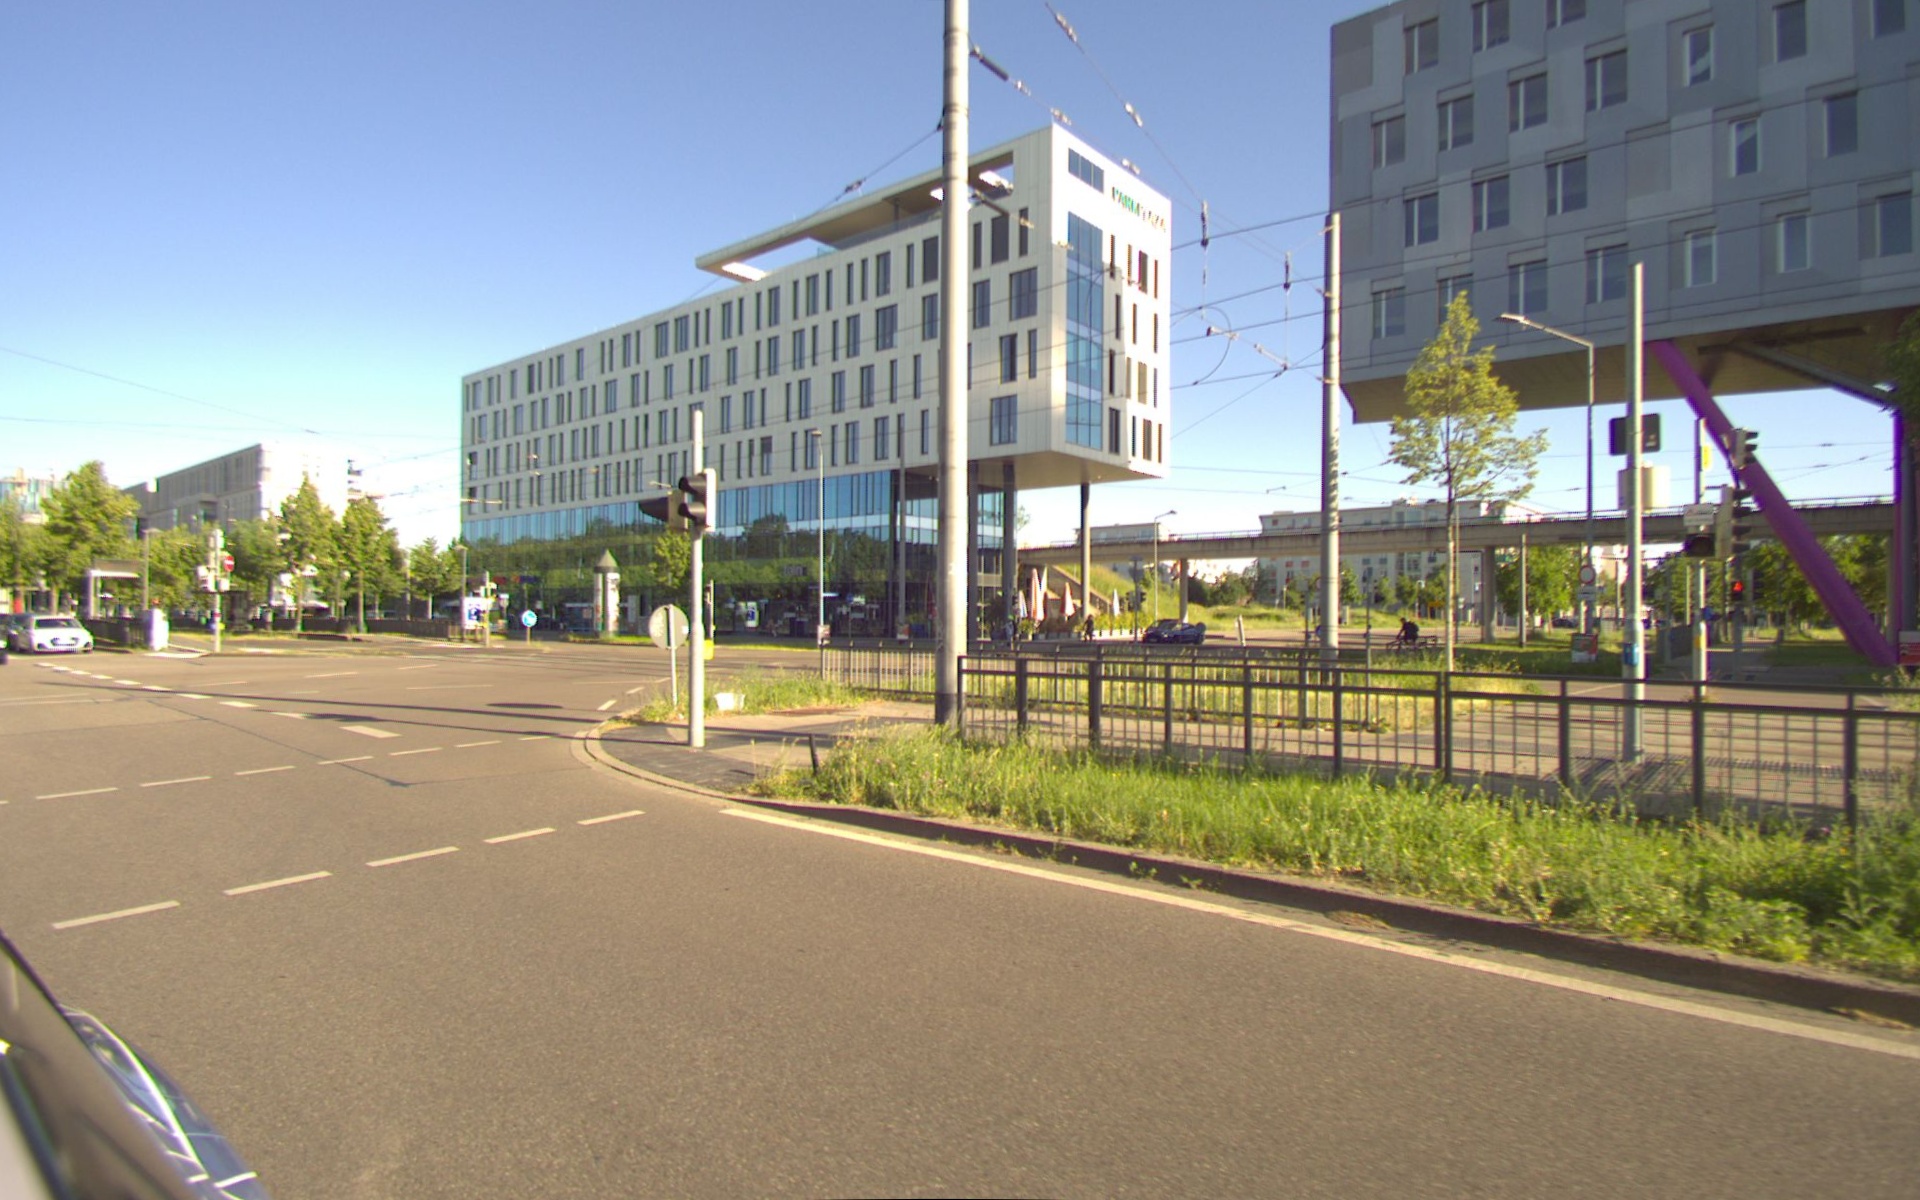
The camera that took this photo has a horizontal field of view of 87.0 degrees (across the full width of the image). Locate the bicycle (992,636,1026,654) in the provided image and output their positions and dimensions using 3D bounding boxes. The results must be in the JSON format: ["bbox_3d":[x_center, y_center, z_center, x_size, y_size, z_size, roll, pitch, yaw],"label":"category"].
[{"bbox_3d":[2.508,2.310,52.156,1.833,0.869,0.522,-2,-2,41],"label":"bicycle"}]

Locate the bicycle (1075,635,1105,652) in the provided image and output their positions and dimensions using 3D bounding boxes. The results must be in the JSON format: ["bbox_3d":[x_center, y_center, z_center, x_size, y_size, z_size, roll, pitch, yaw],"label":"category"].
[{"bbox_3d":[7.259,2.430,56.476,0.749,0.869,1.805,-2,-2,42],"label":"bicycle"}]

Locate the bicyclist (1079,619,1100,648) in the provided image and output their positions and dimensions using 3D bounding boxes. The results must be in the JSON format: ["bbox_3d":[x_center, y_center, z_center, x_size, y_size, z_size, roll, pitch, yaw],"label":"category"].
[{"bbox_3d":[7.211,1.851,56.443,0.750,1.595,0.943,-2,-2,42],"label":"bicyclist"}]

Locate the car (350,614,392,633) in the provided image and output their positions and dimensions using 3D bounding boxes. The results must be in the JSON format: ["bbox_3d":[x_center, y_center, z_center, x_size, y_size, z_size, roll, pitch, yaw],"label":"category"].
[{"bbox_3d":[-52.140,2.061,89.546,4.339,1.538,1.781,-1,0,39],"label":"car"}]

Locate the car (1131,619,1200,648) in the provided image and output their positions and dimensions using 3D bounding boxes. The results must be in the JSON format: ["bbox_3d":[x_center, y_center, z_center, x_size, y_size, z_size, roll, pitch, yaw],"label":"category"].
[{"bbox_3d":[11.537,1.866,56.683,2.000,1.577,3.943,-1,-2,43],"label":"car"}]

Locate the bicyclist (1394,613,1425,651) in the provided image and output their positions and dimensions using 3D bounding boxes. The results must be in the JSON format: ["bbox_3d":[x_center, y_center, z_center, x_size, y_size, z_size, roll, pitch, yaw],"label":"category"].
[{"bbox_3d":[17.619,1.256,39.659,0.958,1.446,0.564,-2,-2,42],"label":"bicyclist"}]

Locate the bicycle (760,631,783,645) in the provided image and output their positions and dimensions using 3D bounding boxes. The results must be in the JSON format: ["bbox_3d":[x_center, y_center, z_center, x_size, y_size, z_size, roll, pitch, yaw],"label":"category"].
[{"bbox_3d":[-11.950,2.415,64.202,1.691,0.869,0.476,-2,-2,42],"label":"bicycle"}]

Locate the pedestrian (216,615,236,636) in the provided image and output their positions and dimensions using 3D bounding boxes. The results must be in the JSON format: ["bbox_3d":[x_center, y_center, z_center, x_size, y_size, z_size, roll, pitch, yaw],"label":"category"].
[{"bbox_3d":[-51.140,1.772,70.511,0.844,1.477,1.054,-2,-1,45],"label":"pedestrian"}]

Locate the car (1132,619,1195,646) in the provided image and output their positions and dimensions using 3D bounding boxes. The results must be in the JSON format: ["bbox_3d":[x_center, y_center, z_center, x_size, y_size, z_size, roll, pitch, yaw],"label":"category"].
[{"bbox_3d":[12.392,1.980,61.556,2.000,1.577,3.943,-1,-2,43],"label":"car"}]

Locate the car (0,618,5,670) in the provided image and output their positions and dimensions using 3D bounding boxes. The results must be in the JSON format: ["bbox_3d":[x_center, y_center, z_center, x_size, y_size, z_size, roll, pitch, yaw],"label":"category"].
[{"bbox_3d":[-30.562,1.353,30.697,4.339,1.538,1.781,-1,0,39],"label":"car"}]

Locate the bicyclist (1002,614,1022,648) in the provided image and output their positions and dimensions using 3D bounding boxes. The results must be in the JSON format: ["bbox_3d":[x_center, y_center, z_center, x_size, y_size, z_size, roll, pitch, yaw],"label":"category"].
[{"bbox_3d":[2.665,1.595,52.032,0.837,1.739,0.524,-2,-2,41],"label":"bicyclist"}]

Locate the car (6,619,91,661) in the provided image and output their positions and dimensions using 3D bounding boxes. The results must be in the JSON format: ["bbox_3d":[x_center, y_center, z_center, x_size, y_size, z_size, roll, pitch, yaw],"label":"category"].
[{"bbox_3d":[-34.079,1.454,37.795,3.999,1.437,1.656,-1,0,38],"label":"car"}]

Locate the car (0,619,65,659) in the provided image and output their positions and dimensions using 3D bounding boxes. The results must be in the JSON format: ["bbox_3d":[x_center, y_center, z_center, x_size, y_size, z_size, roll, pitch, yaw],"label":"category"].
[{"bbox_3d":[-38.926,1.580,42.160,4.339,1.538,1.781,-1,0,39],"label":"car"}]

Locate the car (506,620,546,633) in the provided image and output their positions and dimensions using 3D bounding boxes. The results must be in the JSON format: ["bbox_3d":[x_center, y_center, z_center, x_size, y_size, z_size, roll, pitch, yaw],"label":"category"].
[{"bbox_3d":[-51.019,3.101,119.032,1.873,1.365,3.952,-1,0,36],"label":"car"}]

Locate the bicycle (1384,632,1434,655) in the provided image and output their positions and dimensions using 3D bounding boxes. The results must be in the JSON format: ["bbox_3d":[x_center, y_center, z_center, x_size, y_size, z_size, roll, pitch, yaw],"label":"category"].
[{"bbox_3d":[17.588,1.697,39.679,1.692,0.869,0.569,-2,-2,42],"label":"bicycle"}]

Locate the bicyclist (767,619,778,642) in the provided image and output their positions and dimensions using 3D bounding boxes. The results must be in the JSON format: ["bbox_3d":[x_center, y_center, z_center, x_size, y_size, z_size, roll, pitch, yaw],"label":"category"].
[{"bbox_3d":[-11.888,1.937,64.160,0.553,1.434,0.476,-2,-2,42],"label":"bicyclist"}]
